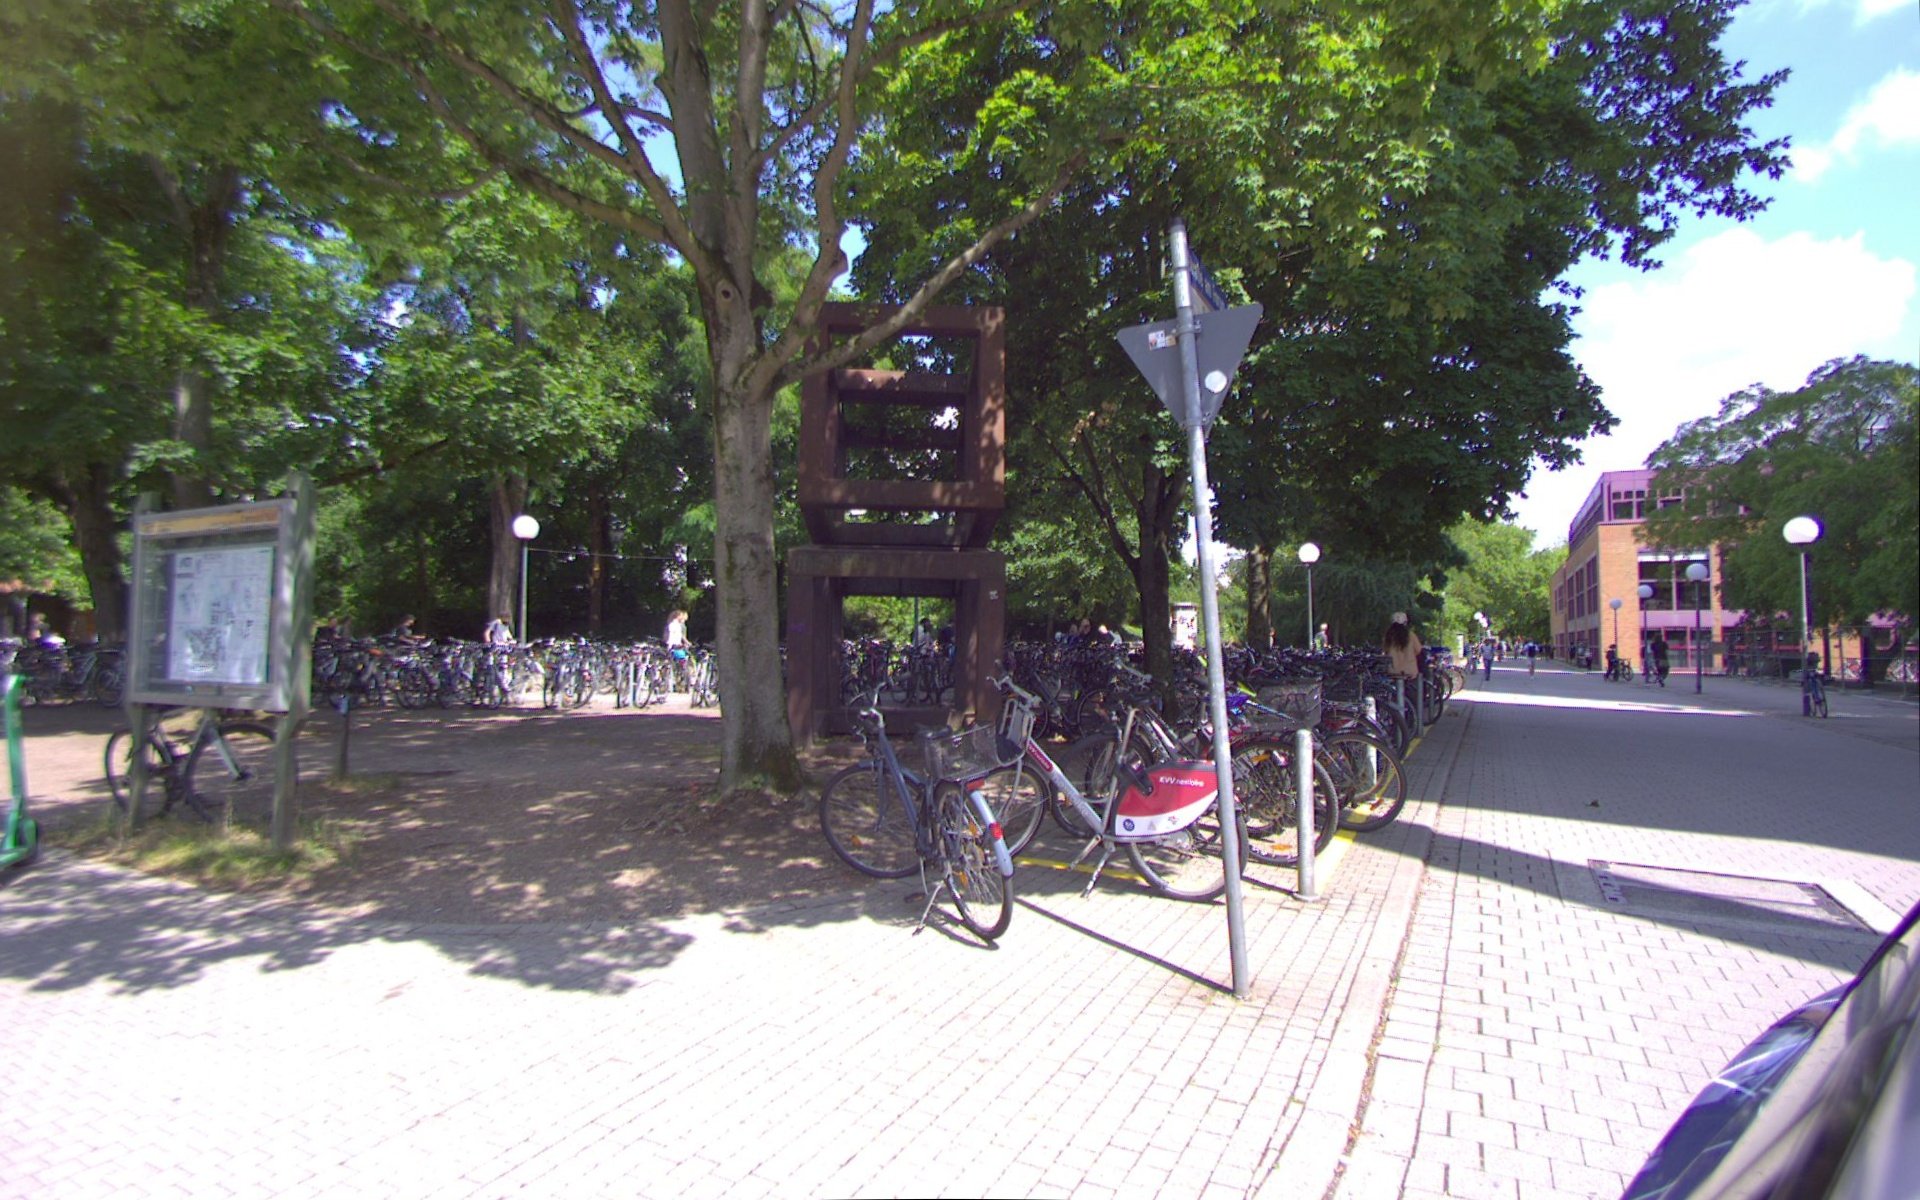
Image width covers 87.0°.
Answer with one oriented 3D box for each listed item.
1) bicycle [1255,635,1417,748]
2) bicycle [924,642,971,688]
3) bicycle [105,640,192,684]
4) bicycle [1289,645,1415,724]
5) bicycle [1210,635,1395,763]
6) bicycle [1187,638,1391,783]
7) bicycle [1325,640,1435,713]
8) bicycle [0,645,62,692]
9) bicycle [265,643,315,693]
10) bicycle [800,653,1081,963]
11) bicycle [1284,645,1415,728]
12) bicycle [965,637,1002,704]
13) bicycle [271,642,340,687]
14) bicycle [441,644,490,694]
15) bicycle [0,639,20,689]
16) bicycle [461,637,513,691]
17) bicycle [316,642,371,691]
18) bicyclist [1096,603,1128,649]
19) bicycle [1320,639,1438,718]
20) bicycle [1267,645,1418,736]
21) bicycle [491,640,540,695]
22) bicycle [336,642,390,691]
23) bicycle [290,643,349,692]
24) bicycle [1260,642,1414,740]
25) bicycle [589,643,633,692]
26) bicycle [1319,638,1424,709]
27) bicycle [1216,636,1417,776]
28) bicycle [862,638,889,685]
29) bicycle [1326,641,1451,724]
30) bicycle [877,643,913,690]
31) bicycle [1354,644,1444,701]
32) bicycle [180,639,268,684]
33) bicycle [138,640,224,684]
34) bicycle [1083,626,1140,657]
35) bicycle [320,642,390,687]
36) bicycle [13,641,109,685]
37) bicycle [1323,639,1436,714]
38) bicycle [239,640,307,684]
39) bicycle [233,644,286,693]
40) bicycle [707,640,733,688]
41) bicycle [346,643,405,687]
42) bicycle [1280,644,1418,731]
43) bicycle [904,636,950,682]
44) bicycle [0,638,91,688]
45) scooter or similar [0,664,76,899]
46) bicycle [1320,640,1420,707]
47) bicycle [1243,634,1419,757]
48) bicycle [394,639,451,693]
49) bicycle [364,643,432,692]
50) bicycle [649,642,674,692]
[{"bbox_3d":[4.226,1.014,11.440,1.675,1.166,0.623,0,-4,21],"label":"bicycle"},{"bbox_3d":[-0.303,1.505,23.674,0.468,0.991,1.907,0,-1,-20],"label":"bicycle"},{"bbox_3d":[-19.779,1.499,24.715,0.414,0.991,1.900,-1,-1,6],"label":"bicycle"},{"bbox_3d":[5.647,1.207,14.620,1.670,1.061,0.497,0,-4,24],"label":"bicycle"},{"bbox_3d":[3.461,0.964,10.290,1.685,1.139,0.620,1,0,34],"label":"bicycle"},{"bbox_3d":[2.921,0.940,9.068,1.685,1.139,0.476,1,0,34],"label":"bicycle"},{"bbox_3d":[7.001,1.264,16.905,1.670,1.145,0.450,0,-4,24],"label":"bicycle"},{"bbox_3d":[-21.453,1.537,22.809,0.602,0.991,1.900,-1,-1,7],"label":"bicycle"},{"bbox_3d":[-14.726,1.471,22.273,0.468,0.991,1.907,0,-1,-20],"label":"bicycle"},{"bbox_3d":[-0.185,0.873,4.942,0.594,1.156,1.788,-1,-1,-28],"label":"bicycle"},{"bbox_3d":[5.414,1.183,14.093,1.670,1.061,0.612,0,-4,24],"label":"bicycle"},{"bbox_3d":[0.426,1.290,19.011,0.427,1.185,1.847,0,-2,-7],"label":"bicycle"},{"bbox_3d":[-15.563,1.520,24.123,0.469,0.991,1.904,-1,-1,-2],"label":"bicycle"},{"bbox_3d":[-10.797,1.482,22.131,0.469,0.991,1.906,0,-1,-11],"label":"bicycle"},{"bbox_3d":[-22.631,1.482,23.019,0.602,1.133,1.900,-1,-1,7],"label":"bicycle"},{"bbox_3d":[-10.330,1.374,22.148,0.469,1.096,1.906,0,-1,-8],"label":"bicycle"},{"bbox_3d":[-13.605,1.445,22.376,0.468,0.991,1.907,0,-1,-13],"label":"bicycle"},{"bbox_3d":[4.905,0.844,32.752,0.786,1.465,0.746,1,-2,-14],"label":"bicyclist"},{"bbox_3d":[6.517,1.210,15.778,1.670,1.145,0.450,0,-4,24],"label":"bicycle"},{"bbox_3d":[4.817,1.119,12.777,1.686,1.061,0.609,-1,-5,37],"label":"bicycle"},{"bbox_3d":[-9.756,1.458,22.261,0.469,1.096,1.906,0,-1,-8],"label":"bicycle"},{"bbox_3d":[-13.220,1.444,22.459,0.468,0.991,1.907,0,-1,-13],"label":"bicycle"},{"bbox_3d":[-14.135,1.468,22.383,0.468,0.991,1.907,0,-1,-12],"label":"bicycle"},{"bbox_3d":[4.473,1.063,12.052,1.676,1.061,0.564,0,-4,22],"label":"bicycle"},{"bbox_3d":[-7.657,1.458,22.248,0.371,0.991,1.904,-1,-1,-2],"label":"bicycle"},{"bbox_3d":[7.100,1.254,17.494,1.670,1.145,0.450,0,-4,24],"label":"bicycle"},{"bbox_3d":[3.295,0.941,9.432,1.685,1.139,0.559,1,0,34],"label":"bicycle"},{"bbox_3d":[-1.938,1.378,23.107,0.469,0.991,1.906,0,-1,-9],"label":"bicycle"},{"bbox_3d":[6.301,1.200,14.937,1.670,1.145,0.450,0,-4,24],"label":"bicycle"},{"bbox_3d":[-1.523,1.516,23.366,0.468,0.991,1.907,0,-1,-15],"label":"bicycle"},{"bbox_3d":[9.010,1.485,20.801,1.670,1.098,0.474,0,-4,25],"label":"bicycle"},{"bbox_3d":[-17.787,1.465,24.508,0.602,0.991,1.900,-1,-1,7],"label":"bicycle"},{"bbox_3d":[-18.766,1.476,24.426,0.470,0.991,1.900,-1,-1,5],"label":"bicycle"},{"bbox_3d":[4.914,1.332,32.746,1.716,0.943,0.587,-1,0,-14],"label":"bicycle"},{"bbox_3d":[-14.613,1.543,24.505,0.434,0.991,1.901,-1,-1,5],"label":"bicycle"},{"bbox_3d":[-22.182,1.541,25.014,0.471,0.991,1.898,-1,-1,9],"label":"bicycle"},{"bbox_3d":[6.774,1.222,16.370,1.670,1.145,0.450,0,-4,24],"label":"bicycle"},{"bbox_3d":[-16.780,1.504,24.782,0.525,0.991,1.905,-1,-1,-5],"label":"bicycle"},{"bbox_3d":[-15.260,1.474,22.089,0.468,0.991,1.907,0,-1,-20],"label":"bicycle"},{"bbox_3d":[-5.320,1.387,22.376,0.370,0.991,1.907,0,-1,-19],"label":"bicycle"},{"bbox_3d":[-14.111,1.553,24.485,0.300,0.991,1.884,-1,-1,1],"label":"bicycle"},{"bbox_3d":[5.149,1.145,13.428,1.670,1.061,0.612,0,-4,24],"label":"bicycle"},{"bbox_3d":[-0.786,1.354,23.471,0.468,0.991,1.907,0,-1,-20],"label":"bicycle"},{"bbox_3d":[-22.993,1.554,25.424,0.471,1.158,1.898,-1,-1,9],"label":"bicycle"},{"bbox_3d":[-5.378,0.964,5.678,0.488,1.128,1.362,2,-1,-36],"label":"scooter or similar"},{"bbox_3d":[7.497,1.340,18.534,1.670,1.145,0.450,0,-4,24],"label":"bicycle"},{"bbox_3d":[3.955,0.976,10.820,1.682,1.165,0.621,1,0,31],"label":"bicycle"},{"bbox_3d":[-11.663,1.410,22.009,0.469,1.096,1.906,0,-1,-8],"label":"bicycle"},{"bbox_3d":[-12.260,1.452,22.125,0.469,0.991,1.904,-1,-1,-2],"label":"bicycle"},{"bbox_3d":[-6.527,1.435,22.080,0.370,0.991,1.907,0,-1,-21],"label":"bicycle"}]
